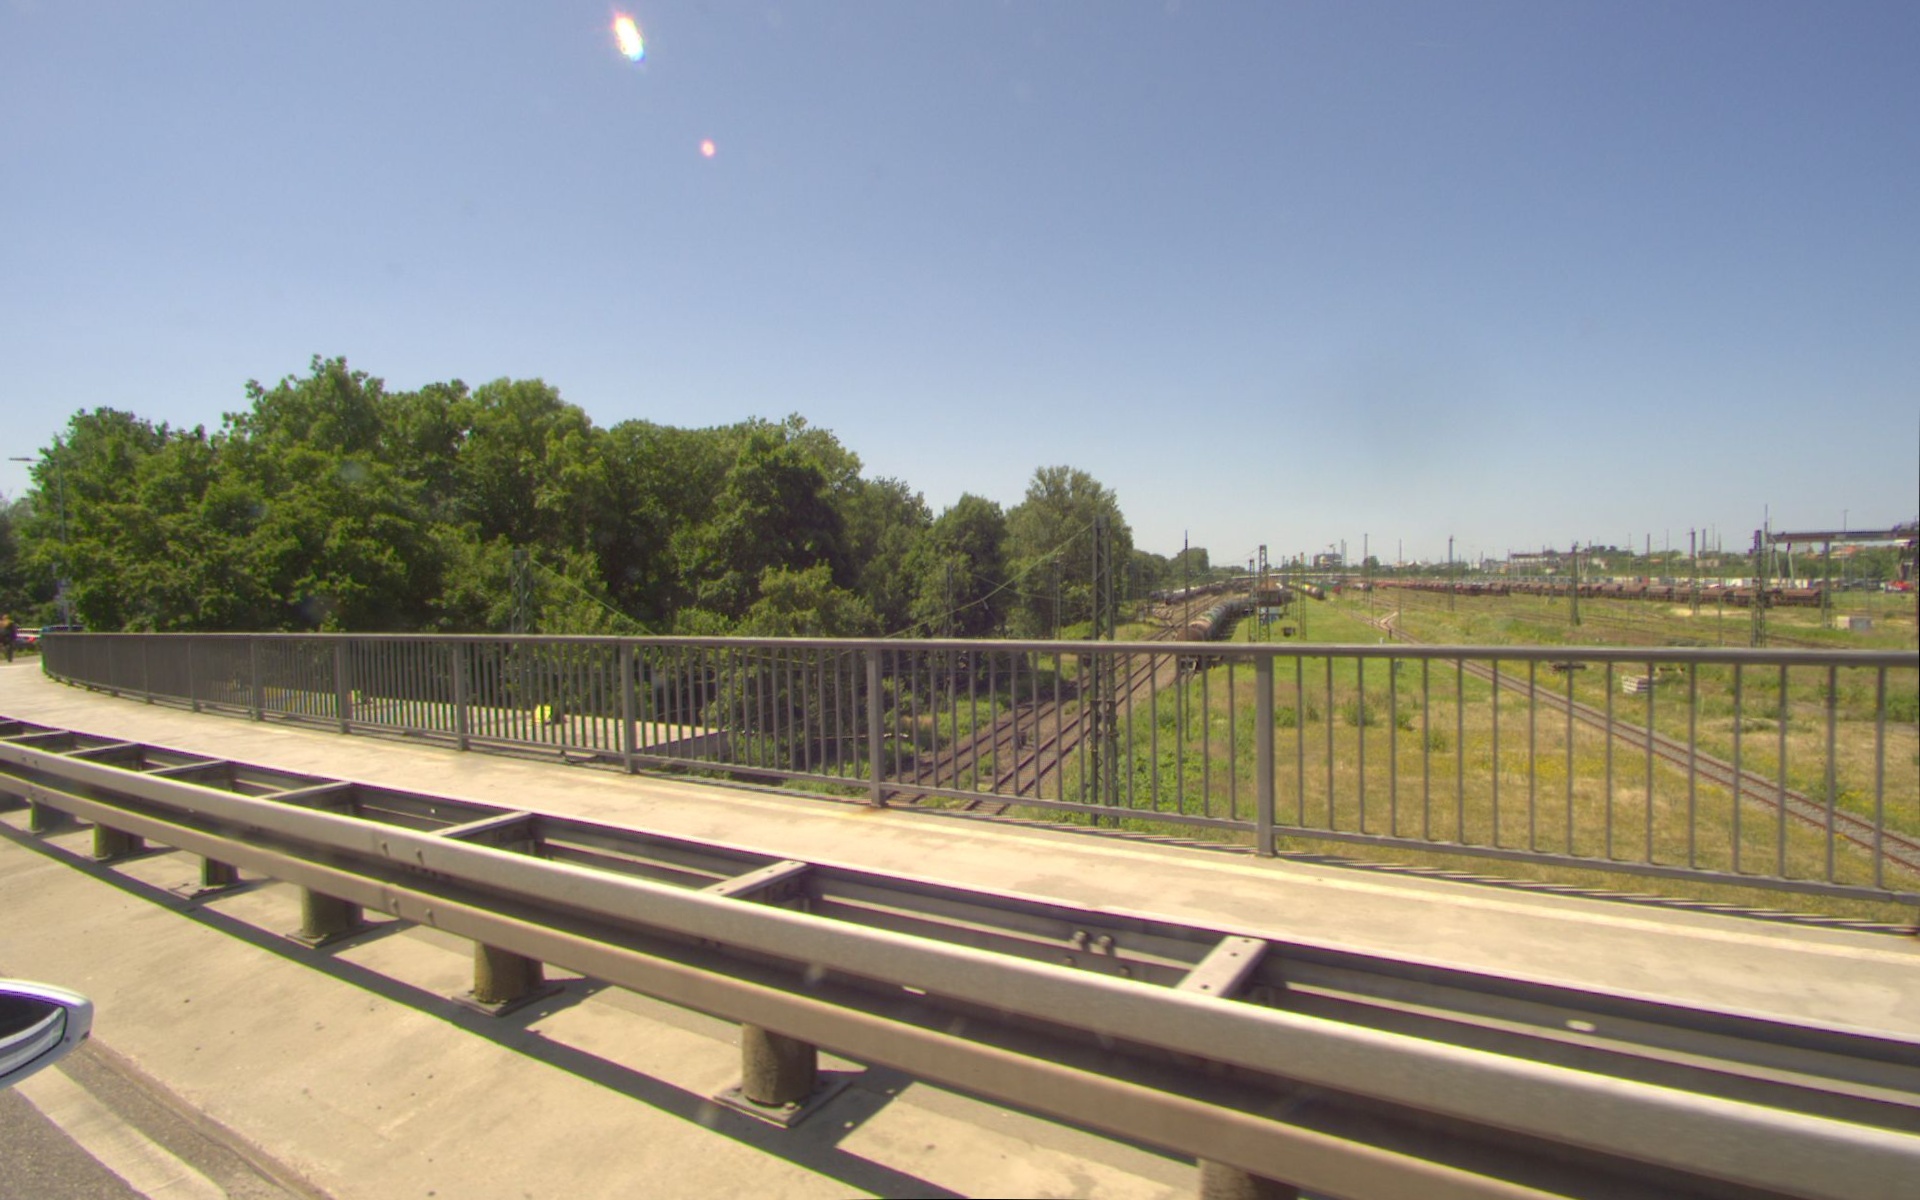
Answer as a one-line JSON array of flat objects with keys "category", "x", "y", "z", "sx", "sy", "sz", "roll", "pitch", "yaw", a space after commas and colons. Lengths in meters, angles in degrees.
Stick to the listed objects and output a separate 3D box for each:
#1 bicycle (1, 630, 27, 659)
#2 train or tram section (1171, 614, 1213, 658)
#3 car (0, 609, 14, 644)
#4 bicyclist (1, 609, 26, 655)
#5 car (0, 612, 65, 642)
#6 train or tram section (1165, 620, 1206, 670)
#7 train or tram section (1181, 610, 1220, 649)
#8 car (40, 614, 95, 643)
[{"category": "bicycle", "x": -36.102, "y": 1.701, "z": 38.213, "sx": 1.469, "sy": 1.050, "sz": 0.578, "roll": -1, "pitch": 2, "yaw": 43}, {"category": "train or tram section", "x": 28.136, "y": 4.254, "z": 120.912, "sx": 3.783, "sy": 4.366, "sz": 13.602, "roll": -2, "pitch": 1, "yaw": 18}, {"category": "car", "x": -50.675, "y": 1.389, "z": 51.897, "sx": 1.668, "sy": 1.783, "sz": 3.976, "roll": 0, "pitch": -2, "yaw": -33}, {"category": "bicyclist", "x": -36.131, "y": 1.221, "z": 38.216, "sx": 0.721, "sy": 1.706, "sz": 0.574, "roll": 0, "pitch": 3, "yaw": 43}, {"category": "car", "x": -53.894, "y": 1.577, "z": 58.194, "sx": 1.972, "sy": 1.594, "sz": 3.982, "roll": 2, "pitch": -4, "yaw": -30}, {"category": "train or tram section", "x": 24.389, "y": 4.668, "z": 107.788, "sx": 3.781, "sy": 4.366, "sz": 13.610, "roll": -2, "pitch": 1, "yaw": 14}, {"category": "train or tram section", "x": 32.225, "y": 3.826, "z": 133.854, "sx": 3.784, "sy": 4.366, "sz": 13.600, "roll": -2, "pitch": 1, "yaw": 18}, {"category": "car", "x": -57.028, "y": 1.815, "z": 64.047, "sx": 1.666, "sy": 1.783, "sz": 3.983, "roll": 0, "pitch": -2, "yaw": -28}]
